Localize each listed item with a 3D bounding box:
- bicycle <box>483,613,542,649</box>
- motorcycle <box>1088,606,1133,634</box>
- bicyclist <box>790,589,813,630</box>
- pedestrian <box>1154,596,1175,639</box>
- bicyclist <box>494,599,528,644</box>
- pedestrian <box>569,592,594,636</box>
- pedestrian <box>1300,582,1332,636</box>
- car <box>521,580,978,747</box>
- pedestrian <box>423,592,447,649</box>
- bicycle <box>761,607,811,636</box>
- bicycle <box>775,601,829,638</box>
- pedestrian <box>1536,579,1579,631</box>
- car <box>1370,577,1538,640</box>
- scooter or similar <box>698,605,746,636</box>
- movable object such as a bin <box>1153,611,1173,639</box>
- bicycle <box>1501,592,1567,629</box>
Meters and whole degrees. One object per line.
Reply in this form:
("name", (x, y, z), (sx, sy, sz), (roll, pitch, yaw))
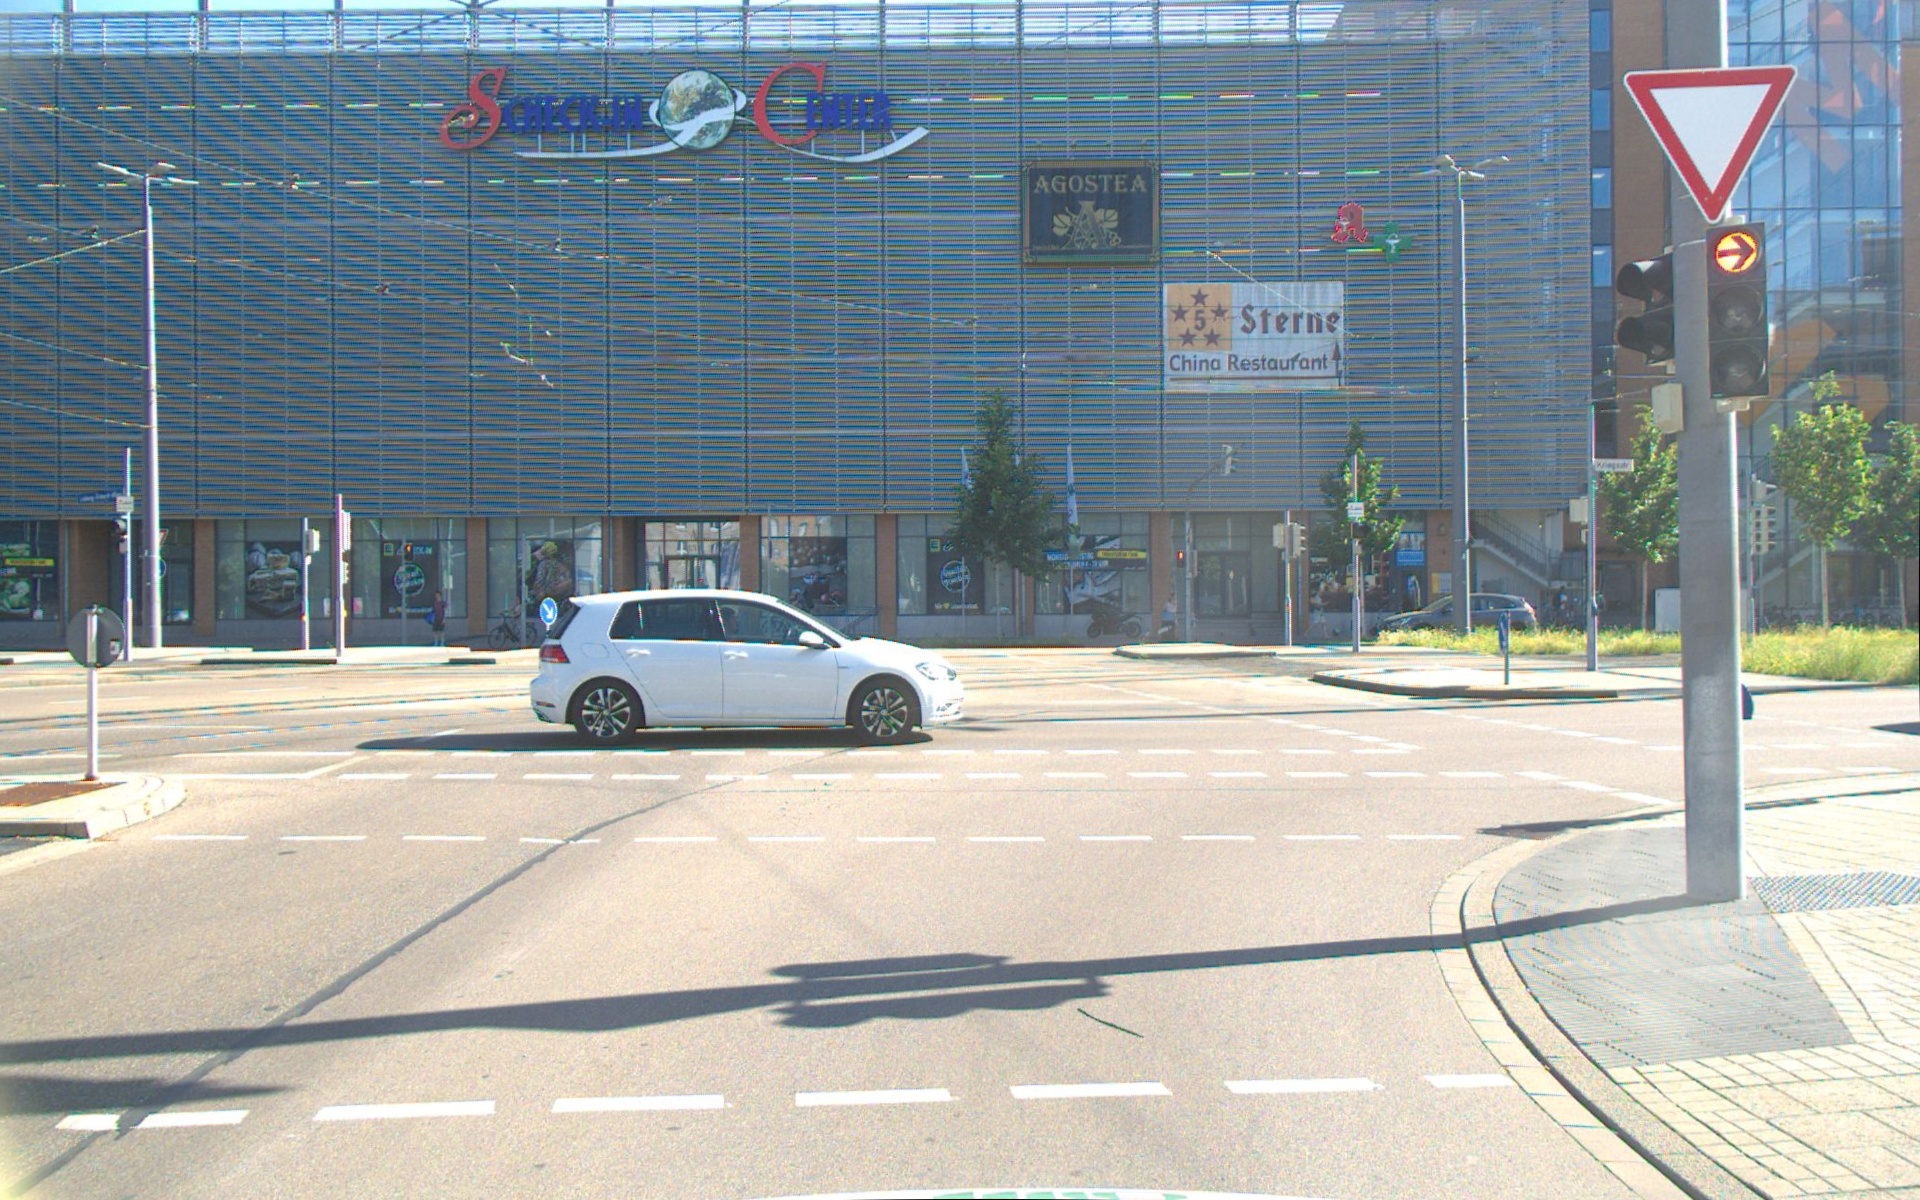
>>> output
("bicycle", (-14.765, 1.009, 54.616), (0.559, 1.105, 1.852), (0, 2, 42))
("motorcycle", (5.531, 0.730, 60.704), (1.605, 1.022, 0.447), (1, 0, 6))
("bicyclist", (-5.570, 0.346, 58.133), (0.738, 1.410, 0.565), (-1, 1, -1))
("pedestrian", (6.859, 0.579, 55.360), (0.641, 1.438, 0.850), (1, 0, 10))
("bicyclist", (-14.797, 0.693, 54.540), (0.663, 1.452, 0.844), (0, 2, 42))
("pedestrian", (-13.923, 0.517, 60.853), (0.646, 1.629, 0.594), (1, -1, 18))
("pedestrian", (12.733, 0.317, 59.180), (0.930, 1.860, 0.846), (-2, -4, 5))
("car", (-2.033, 0.568, 16.302), (4.202, 1.498, 1.862), (-1, 0, -8))
("pedestrian", (-17.337, 0.665, 54.664), (0.683, 1.829, 0.727), (-2, 0, -17))
("bicycle", (-6.364, 0.781, 60.429), (1.783, 1.006, 0.556), (0, 1, -11))
("bicycle", (-5.562, 0.685, 58.154), (1.819, 1.238, 0.569), (-1, 1, -2))
("pedestrian", (21.704, 0.178, 60.064), (0.999, 1.860, 1.028), (-2, 0, -23))
("car", (13.751, 0.237, 46.149), (4.063, 1.495, 1.840), (3, -1, -2))
("scooter or similar", (-8.744, 0.750, 60.776), (1.759, 1.085, 0.611), (0, 1, -9))
("movable object such as a bin", (6.743, 0.833, 54.894), (0.599, 0.920, 0.970), (1, 0, 10))
("bicycle", (21.290, 0.392, 61.349), (2.209, 1.318, 0.605), (1, -1, -2))
